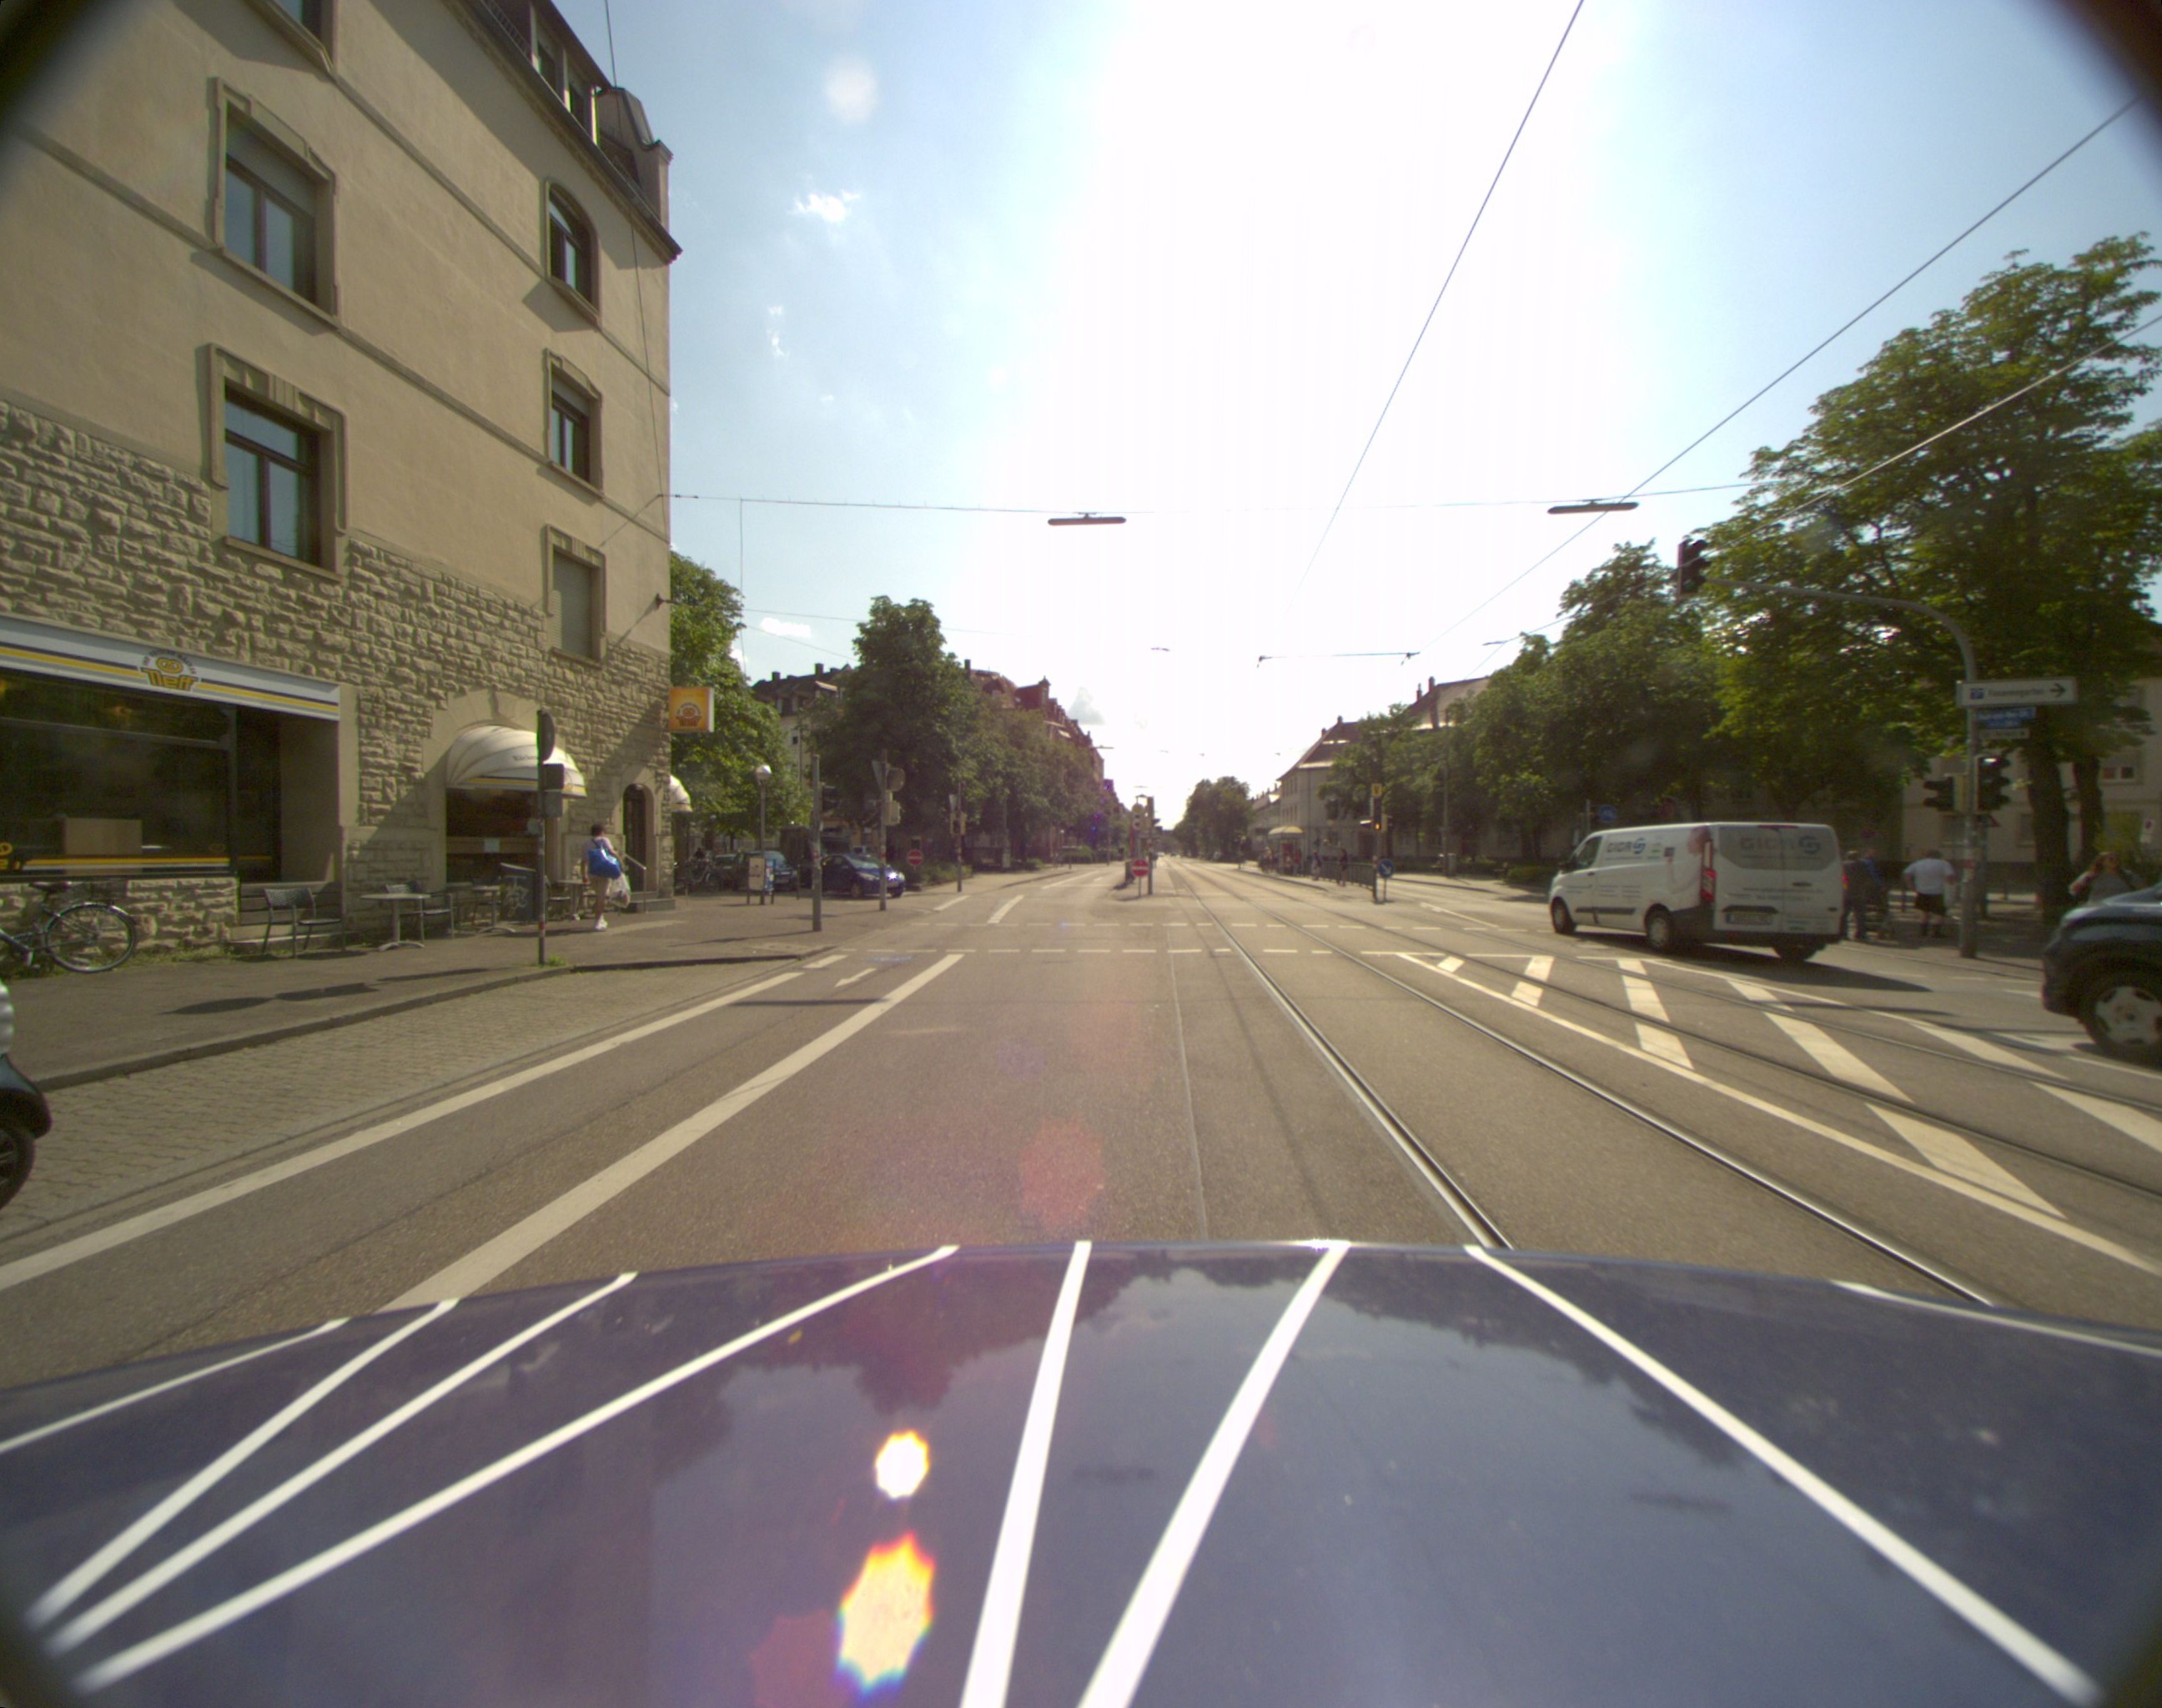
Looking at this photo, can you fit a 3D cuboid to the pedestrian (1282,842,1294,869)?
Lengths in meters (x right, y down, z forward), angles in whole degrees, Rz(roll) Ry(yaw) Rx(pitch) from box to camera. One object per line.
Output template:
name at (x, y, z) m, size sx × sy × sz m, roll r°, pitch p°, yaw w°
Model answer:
pedestrian at (13.150, 0.096, 48.184) m, size 0.498 × 1.660 × 0.678 m, roll 3°, pitch 2°, yaw 0°

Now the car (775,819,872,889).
car at (-11.536, 0.033, 33.617) m, size 2.397 × 2.777 × 6.657 m, roll 1°, pitch -1°, yaw -34°

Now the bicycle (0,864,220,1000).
bicycle at (-10.077, 0.729, 7.088) m, size 0.806 × 1.171 × 2.752 m, roll -2°, pitch 1°, yaw 3°

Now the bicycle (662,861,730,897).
bicycle at (-13.127, 0.833, 25.962) m, size 0.586 × 1.202 × 1.977 m, roll -1°, pitch -1°, yaw 40°

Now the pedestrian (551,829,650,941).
pedestrian at (-8.126, 0.505, 12.879) m, size 1.012 × 1.758 × 0.850 m, roll 4°, pitch 1°, yaw 7°

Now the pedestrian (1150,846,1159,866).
pedestrian at (5.869, 0.160, 60.478) m, size 0.701 × 1.524 × 0.557 m, roll -2°, pitch 1°, yaw 6°

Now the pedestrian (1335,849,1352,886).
pedestrian at (10.960, 0.572, 31.731) m, size 0.538 × 1.533 × 0.516 m, roll 1°, pitch -1°, yaw 5°

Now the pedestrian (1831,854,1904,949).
pedestrian at (14.302, 0.844, 13.835) m, size 0.521 × 1.647 × 0.751 m, roll -2°, pitch 1°, yaw -8°

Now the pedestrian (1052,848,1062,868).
pedestrian at (-1.991, 0.329, 63.998) m, size 0.706 × 1.645 × 0.534 m, roll -2°, pitch 1°, yaw 6°

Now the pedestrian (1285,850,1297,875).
pedestrian at (12.628, 0.524, 45.742) m, size 0.530 × 1.449 × 0.692 m, roll 2°, pitch 2°, yaw 4°

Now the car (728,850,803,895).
car at (-12.428, 0.669, 29.783) m, size 1.731 × 1.546 × 4.102 m, roll -3°, pitch 2°, yaw -36°

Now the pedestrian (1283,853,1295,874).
pedestrian at (13.178, 0.586, 48.205) m, size 0.604 × 1.329 × 0.406 m, roll 3°, pitch 2°, yaw 0°

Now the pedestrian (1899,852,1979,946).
pedestrian at (15.722, 0.805, 13.942) m, size 0.612 × 1.647 × 0.725 m, roll -2°, pitch 0°, yaw -8°

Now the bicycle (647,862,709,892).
bicycle at (-15.299, 0.870, 28.887) m, size 0.586 × 1.109 × 1.977 m, roll -1°, pitch -1°, yaw 40°

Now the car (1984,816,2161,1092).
car at (8.291, 0.748, 3.712) m, size 1.931 × 1.906 × 5.125 m, roll 2°, pitch 1°, yaw 7°

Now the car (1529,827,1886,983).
car at (9.701, 0.626, 12.521) m, size 1.997 × 1.983 × 5.090 m, roll 2°, pitch 1°, yaw 6°

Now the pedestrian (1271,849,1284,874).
pedestrian at (13.436, 0.502, 51.869) m, size 0.657 × 1.632 × 0.639 m, roll 3°, pitch 2°, yaw 5°

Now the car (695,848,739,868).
car at (-37.814, 0.379, 78.890) m, size 4.305 × 2.002 × 2.004 m, roll 0°, pitch 1°, yaw 29°

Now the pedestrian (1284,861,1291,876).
pedestrian at (13.155, 0.925, 48.366) m, size 0.340 × 0.925 × 0.346 m, roll 3°, pitch 2°, yaw -1°

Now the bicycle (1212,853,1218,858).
bicycle at (24.176, 0.260, 136.811) m, size 0.755 × 0.844 × 1.619 m, roll 0°, pitch 1°, yaw 2°

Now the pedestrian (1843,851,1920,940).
pedestrian at (15.883, 0.807, 15.096) m, size 0.624 × 1.688 × 0.848 m, roll -2°, pitch 1°, yaw -6°

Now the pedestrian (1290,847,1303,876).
pedestrian at (12.581, 0.450, 44.282) m, size 0.473 × 1.647 × 0.746 m, roll 4°, pitch 2°, yaw 5°

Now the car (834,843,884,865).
car at (-20.377, -0.054, 69.763) m, size 4.305 × 1.975 × 1.841 m, roll 1°, pitch 2°, yaw 29°

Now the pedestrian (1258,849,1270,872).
pedestrian at (13.132, 0.449, 54.587) m, size 0.657 × 1.598 × 0.638 m, roll 3°, pitch 2°, yaw 0°

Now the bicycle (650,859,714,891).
bicycle at (-14.504, 0.754, 27.662) m, size 0.586 × 1.109 × 1.977 m, roll -1°, pitch -1°, yaw 40°

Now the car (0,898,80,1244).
car at (-5.551, 0.944, 2.211) m, size 1.517 × 1.490 × 2.794 m, roll 3°, pitch 1°, yaw 4°

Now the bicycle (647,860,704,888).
bicycle at (-16.512, 0.817, 30.968) m, size 0.586 × 1.109 × 1.977 m, roll -1°, pitch -1°, yaw 40°

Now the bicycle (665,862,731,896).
bicycle at (-13.443, 0.866, 26.721) m, size 0.586 × 1.133 × 1.977 m, roll -1°, pitch -1°, yaw 40°

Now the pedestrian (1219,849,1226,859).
pedestrian at (20.118, 0.012, 107.787) m, size 0.805 × 1.465 × 0.807 m, roll 0°, pitch 1°, yaw 1°

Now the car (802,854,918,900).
car at (-7.531, 0.724, 25.706) m, size 3.988 × 1.411 × 1.896 m, roll 1°, pitch 1°, yaw 41°

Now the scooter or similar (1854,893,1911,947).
scooter or similar at (14.848, 1.212, 14.081) m, size 0.549 × 0.917 × 0.499 m, roll -2°, pitch 1°, yaw -8°

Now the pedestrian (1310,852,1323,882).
pedestrian at (11.986, 0.640, 38.636) m, size 0.428 × 1.496 × 0.704 m, roll 2°, pitch 2°, yaw 6°
